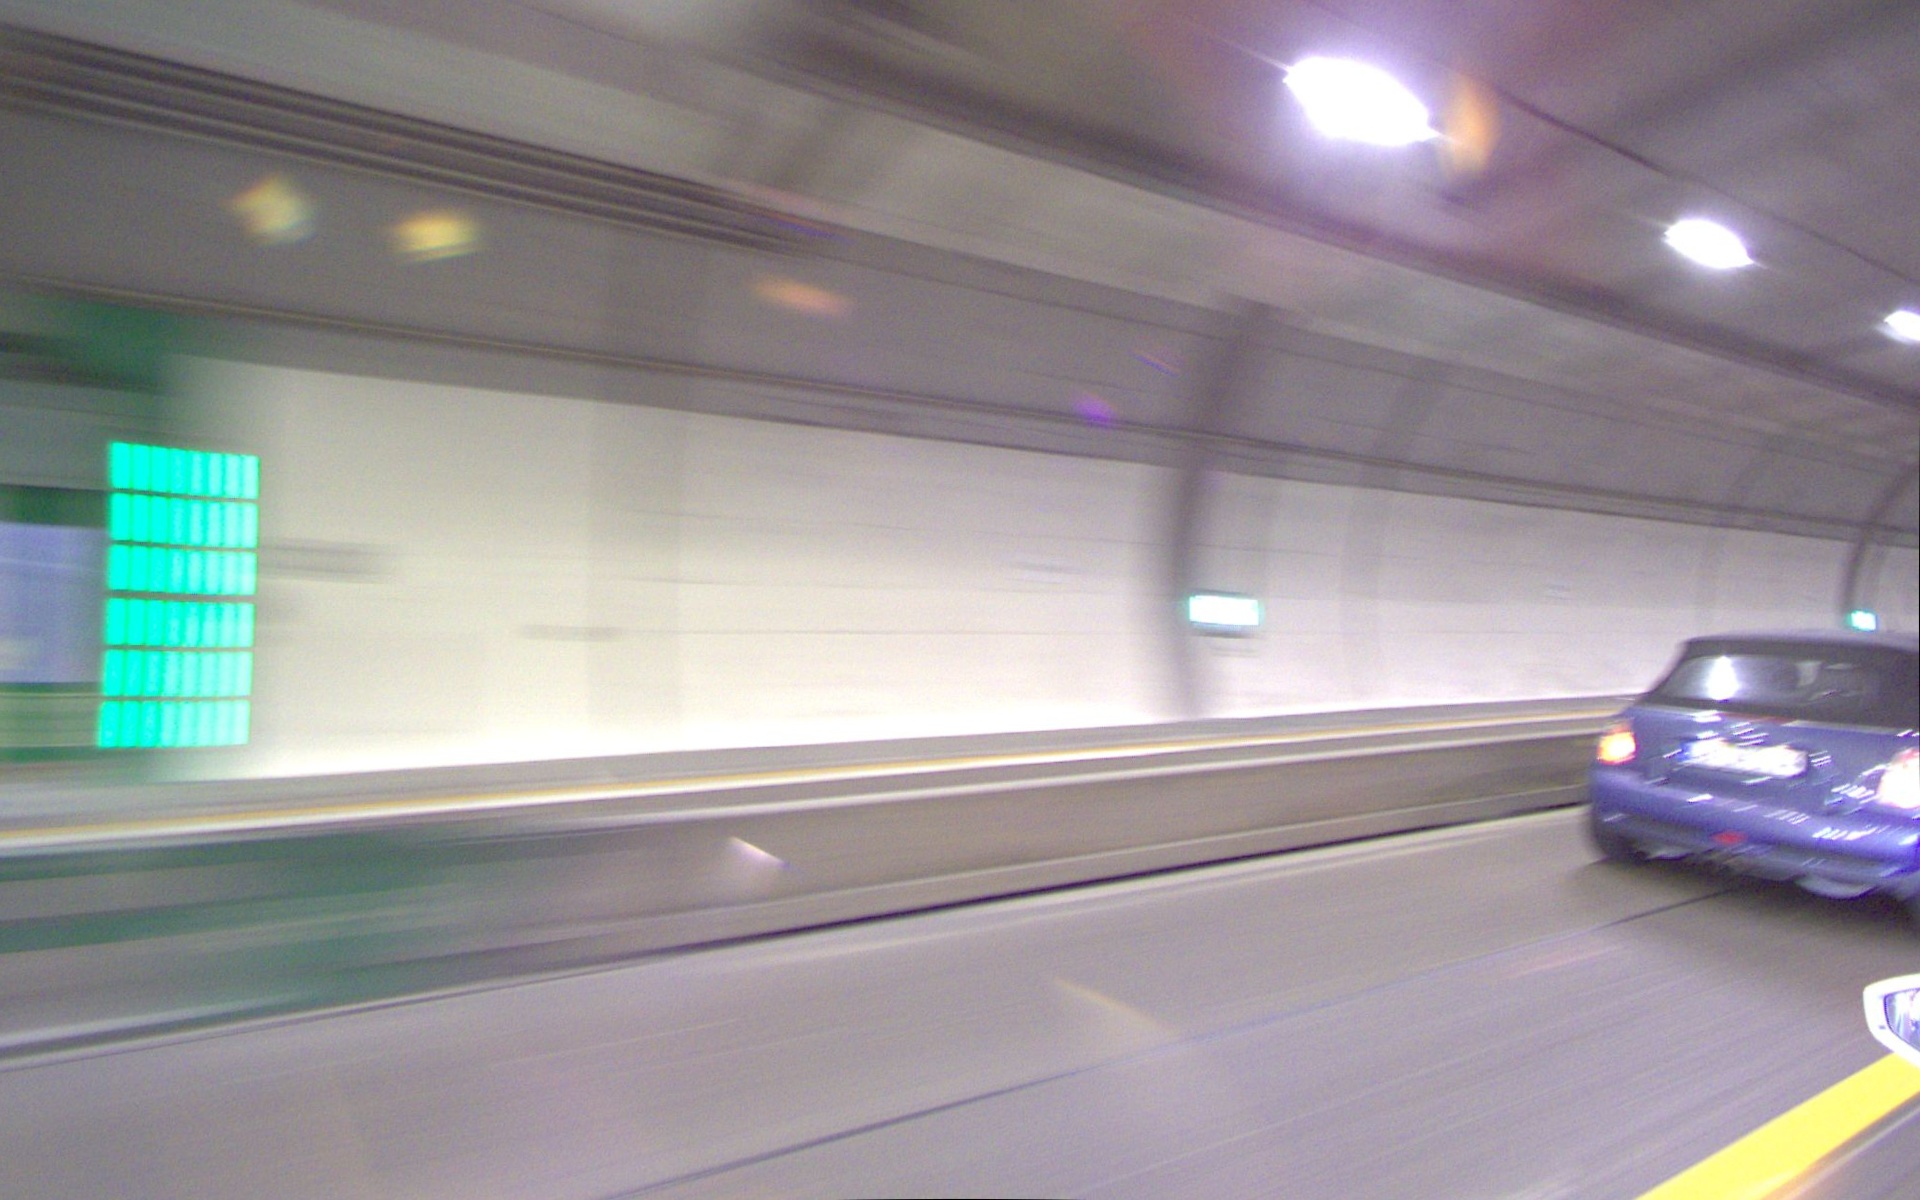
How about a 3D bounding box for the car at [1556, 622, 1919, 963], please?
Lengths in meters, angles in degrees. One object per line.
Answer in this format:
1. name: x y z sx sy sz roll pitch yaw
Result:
1. car: 5.489 0.889 5.982 3.877 1.436 1.681 1 0 -31
